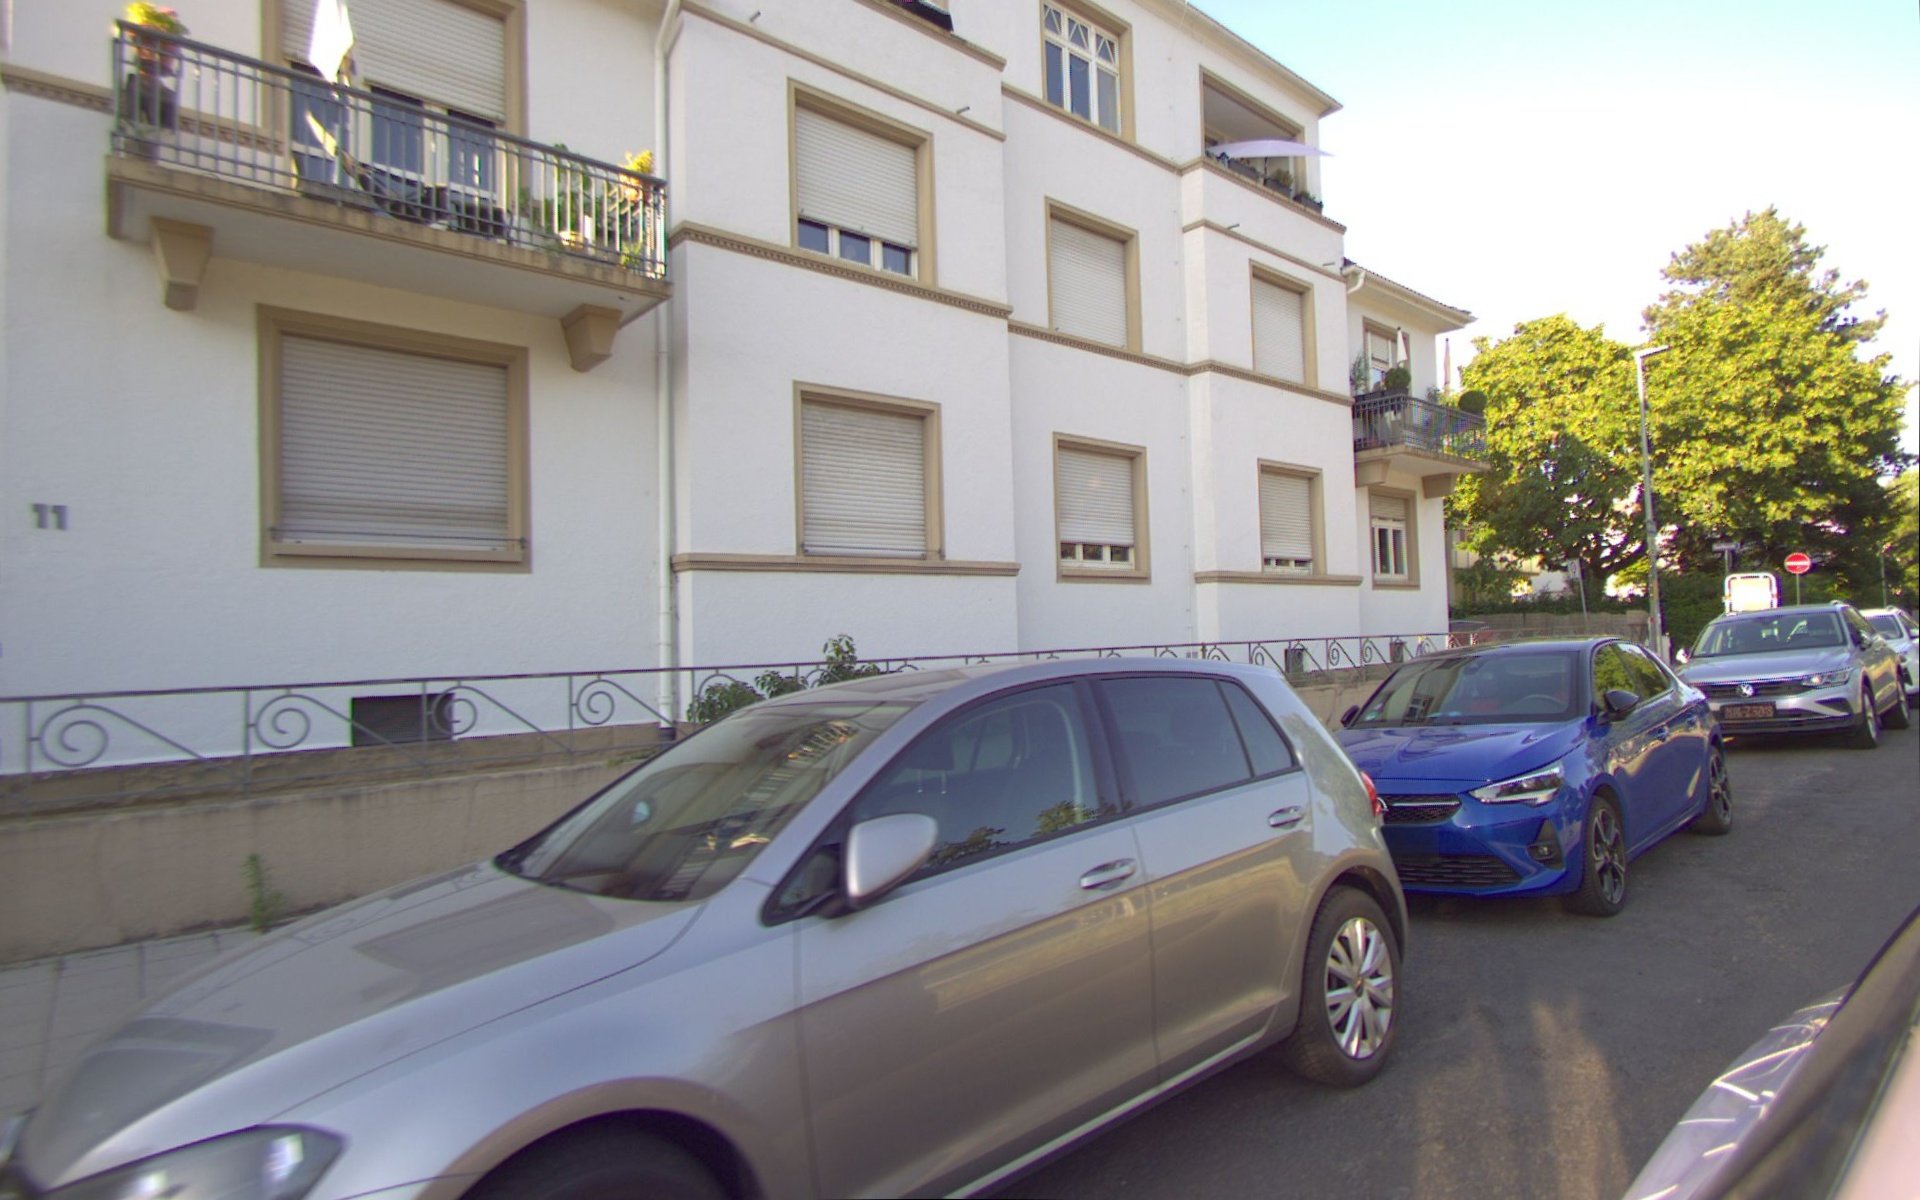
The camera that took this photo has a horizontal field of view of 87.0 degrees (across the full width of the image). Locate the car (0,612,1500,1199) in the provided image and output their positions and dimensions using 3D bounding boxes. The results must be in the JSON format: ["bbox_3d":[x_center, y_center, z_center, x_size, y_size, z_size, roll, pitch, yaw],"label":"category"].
[{"bbox_3d":[-0.282,0.942,3.260,4.484,1.580,1.913,1,-7,-40],"label":"car"}]

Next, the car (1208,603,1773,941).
[{"bbox_3d":[3.666,0.891,6.632,4.230,1.454,1.764,-1,-8,-42],"label":"car"}]

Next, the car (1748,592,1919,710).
[{"bbox_3d":[14.522,0.744,16.200,4.507,1.554,1.878,-1,-7,-39],"label":"car"}]

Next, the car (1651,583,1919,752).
[{"bbox_3d":[10.257,0.748,12.380,4.506,1.670,1.802,-1,-6,-42],"label":"car"}]
